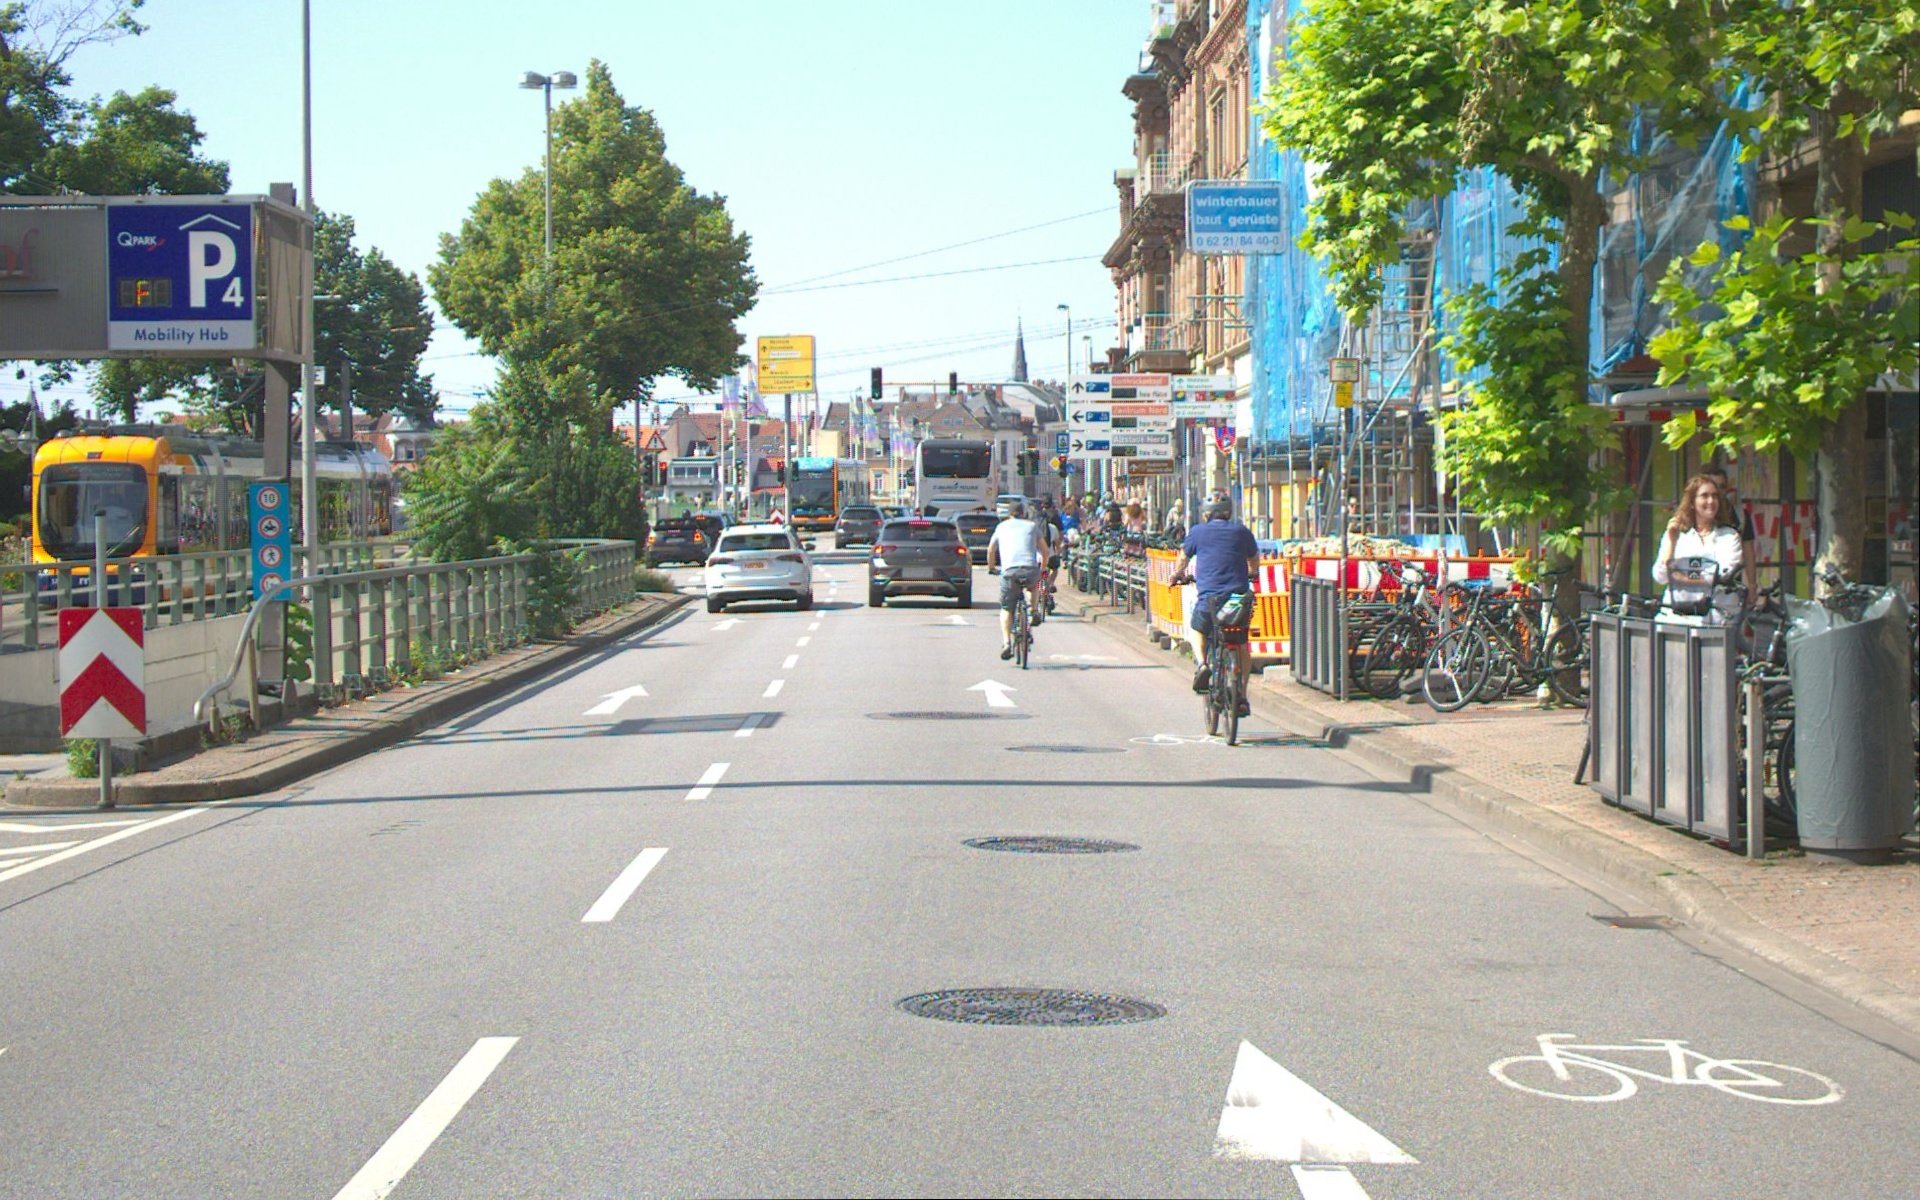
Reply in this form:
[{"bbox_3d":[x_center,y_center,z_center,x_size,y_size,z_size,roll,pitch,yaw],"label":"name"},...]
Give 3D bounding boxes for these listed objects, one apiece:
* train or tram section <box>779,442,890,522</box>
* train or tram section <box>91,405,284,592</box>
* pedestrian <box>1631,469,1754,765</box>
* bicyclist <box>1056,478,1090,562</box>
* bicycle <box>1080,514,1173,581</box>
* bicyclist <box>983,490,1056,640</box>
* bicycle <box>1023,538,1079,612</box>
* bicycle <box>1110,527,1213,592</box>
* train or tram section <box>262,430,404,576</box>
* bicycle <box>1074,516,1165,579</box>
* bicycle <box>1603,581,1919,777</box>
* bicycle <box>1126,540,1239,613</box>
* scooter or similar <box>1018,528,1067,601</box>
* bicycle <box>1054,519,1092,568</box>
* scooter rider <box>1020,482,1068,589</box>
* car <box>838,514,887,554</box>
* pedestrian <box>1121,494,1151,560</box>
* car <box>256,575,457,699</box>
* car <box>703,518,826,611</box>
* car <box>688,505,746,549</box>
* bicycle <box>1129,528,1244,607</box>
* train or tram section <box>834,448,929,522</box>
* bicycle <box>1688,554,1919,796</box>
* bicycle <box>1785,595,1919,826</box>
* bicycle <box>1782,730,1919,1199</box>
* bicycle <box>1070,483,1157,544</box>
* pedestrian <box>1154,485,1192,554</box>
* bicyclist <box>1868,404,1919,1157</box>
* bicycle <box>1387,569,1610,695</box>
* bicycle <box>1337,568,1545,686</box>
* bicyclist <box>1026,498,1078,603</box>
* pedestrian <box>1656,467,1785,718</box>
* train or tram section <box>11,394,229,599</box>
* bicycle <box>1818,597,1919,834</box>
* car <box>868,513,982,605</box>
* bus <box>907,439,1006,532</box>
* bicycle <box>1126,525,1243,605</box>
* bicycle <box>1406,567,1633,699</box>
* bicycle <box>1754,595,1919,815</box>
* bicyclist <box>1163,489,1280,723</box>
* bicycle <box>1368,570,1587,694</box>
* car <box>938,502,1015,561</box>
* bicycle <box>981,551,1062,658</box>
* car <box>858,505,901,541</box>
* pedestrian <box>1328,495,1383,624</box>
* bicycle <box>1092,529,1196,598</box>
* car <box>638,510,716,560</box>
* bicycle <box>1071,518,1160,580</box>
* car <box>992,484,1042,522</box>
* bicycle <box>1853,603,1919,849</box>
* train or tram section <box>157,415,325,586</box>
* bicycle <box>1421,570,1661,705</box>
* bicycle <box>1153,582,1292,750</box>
[{"bbox_3d":[-5.934,-5.595,164.541,2.824,3.568,10.027,2,1,12],"label":"train or tram section"},{"bbox_3d":[-15.644,-2.043,70.017,2.613,3.568,6.104,1,1,-1],"label":"train or tram section"},{"bbox_3d":[4.223,0.093,19.859,0.656,1.677,0.653,0,0,10],"label":"pedestrian"},{"bbox_3d":[2.634,-1.866,80.172,0.688,1.955,0.778,1,1,-2],"label":"bicyclist"},{"bbox_3d":[3.115,-0.990,64.462,1.693,1.236,0.608,1,1,0],"label":"bicycle"},{"bbox_3d":[0.640,-0.383,37.072,0.688,1.571,1.050,1,1,-2],"label":"bicyclist"},{"bbox_3d":[1.375,-0.392,52.352,0.734,1.089,1.898,1,1,-1],"label":"bicycle"},{"bbox_3d":[3.424,-0.688,58.454,1.693,1.083,0.608,1,1,0],"label":"bicycle"},{"bbox_3d":[-16.050,-2.479,88.335,2.613,3.568,6.018,1,1,-1],"label":"train or tram section"},{"bbox_3d":[3.046,-0.997,65.591,1.693,1.174,0.491,1,1,0],"label":"bicycle"},{"bbox_3d":[4.435,0.414,18.692,1.754,1.014,0.657,0,1,22],"label":"bicycle"},{"bbox_3d":[3.424,-0.369,53.030,1.693,1.093,0.608,1,1,0],"label":"bicycle"},{"bbox_3d":[1.344,-0.592,56.293,0.688,1.163,1.464,1,1,-2],"label":"scooter or similar"},{"bbox_3d":[2.637,-1.325,80.194,0.734,1.089,1.898,1,1,-2],"label":"bicycle"},{"bbox_3d":[1.373,-1.057,56.309,0.688,1.723,0.778,1,1,-2],"label":"scooter rider"},{"bbox_3d":[-3.305,-2.259,117.474,1.451,1.296,3.342,1,1,2],"label":"car"},{"bbox_3d":[4.369,-1.817,85.423,0.654,1.615,0.815,-1,2,-2],"label":"pedestrian"},{"bbox_3d":[-8.149,0.463,46.733,1.993,1.503,4.000,1,1,0],"label":"car"},{"bbox_3d":[-3.338,-0.640,59.425,1.858,1.502,4.000,1,1,0],"label":"car"},{"bbox_3d":[-7.468,-2.262,105.965,1.451,1.296,4.000,1,1,0],"label":"car"},{"bbox_3d":[3.438,-0.502,52.231,1.693,1.174,0.608,1,1,0],"label":"bicycle"},{"bbox_3d":[-3.899,-5.752,173.447,2.824,3.568,8.222,2,1,12],"label":"train or tram section"},{"bbox_3d":[4.581,0.364,17.192,1.752,1.177,0.579,0,1,-3],"label":"bicycle"},{"bbox_3d":[4.738,0.487,15.757,1.752,1.014,0.587,-1,1,-3],"label":"bicycle"},{"bbox_3d":[2.211,0.861,6.429,0.734,1.089,2.131,1,1,-2],"label":"bicycle"},{"bbox_3d":[3.070,-1.735,68.870,1.693,1.174,0.609,-1,2,0],"label":"bicycle"},{"bbox_3d":[5.303,-2.004,85.519,0.755,1.650,0.837,-4,1,-2],"label":"pedestrian"},{"bbox_3d":[2.226,0.361,6.396,0.688,1.458,1.143,1,1,-2],"label":"bicyclist"},{"bbox_3d":[4.420,0.258,28.275,1.752,1.014,0.483,0,1,-3],"label":"bicycle"},{"bbox_3d":[4.228,0.233,30.274,1.752,1.014,0.483,0,1,-3],"label":"bicycle"},{"bbox_3d":[1.393,-0.762,52.336,0.688,1.571,1.050,1,1,-2],"label":"bicyclist"},{"bbox_3d":[5.737,-0.063,25.975,0.814,1.842,0.891,-2,1,7],"label":"pedestrian"},{"bbox_3d":[-15.530,-1.898,63.941,2.613,3.568,6.104,1,1,-1],"label":"train or tram section"},{"bbox_3d":[4.725,0.498,15.180,1.752,1.014,0.483,0,1,-3],"label":"bicycle"},{"bbox_3d":[-0.582,-0.734,59.710,1.873,1.487,4.000,1,1,0],"label":"car"},{"bbox_3d":[-0.093,-3.599,109.237,2.969,2.767,8.642,1,1,0],"label":"bus"},{"bbox_3d":[3.365,-0.529,51.537,1.693,1.174,0.608,1,1,0],"label":"bicycle"},{"bbox_3d":[4.460,0.254,27.420,1.752,1.014,0.483,-1,1,-17],"label":"bicycle"},{"bbox_3d":[4.730,0.488,16.391,1.752,1.014,0.557,0,1,-3],"label":"bicycle"},{"bbox_3d":[1.842,0.030,24.289,0.688,1.610,0.918,1,1,-2],"label":"bicyclist"},{"bbox_3d":[4.343,0.265,28.902,1.752,1.014,0.483,0,1,-3],"label":"bicycle"},{"bbox_3d":[0.445,-1.854,92.603,1.993,1.487,4.000,1,1,0],"label":"car"},{"bbox_3d":[0.649,0.032,37.045,0.734,1.089,1.898,1,1,-2],"label":"bicycle"},{"bbox_3d":[-2.961,-2.836,126.792,1.451,1.296,3.342,1,1,0],"label":"car"},{"bbox_3d":[5.510,-0.568,47.906,0.639,1.770,0.649,1,1,-1],"label":"pedestrian"},{"bbox_3d":[3.202,-0.632,59.896,1.771,1.174,0.608,1,1,0],"label":"bicycle"},{"bbox_3d":[-7.879,-1.823,95.903,1.815,1.327,4.000,1,1,0],"label":"car"},{"bbox_3d":[3.019,-0.989,66.735,1.693,1.174,0.463,1,1,0],"label":"bicycle"},{"bbox_3d":[2.916,-4.960,175.367,1.994,1.871,3.999,-1,2,9],"label":"car"},{"bbox_3d":[4.743,0.526,14.641,1.752,1.014,0.483,0,1,-3],"label":"bicycle"},{"bbox_3d":[-15.769,-2.179,75.728,2.613,3.568,5.357,1,1,-1],"label":"train or tram section"},{"bbox_3d":[4.459,0.282,26.435,1.752,1.014,0.483,0,1,-3],"label":"bicycle"},{"bbox_3d":[1.840,0.442,24.322,0.734,1.089,1.911,1,1,-2],"label":"bicycle"}]
